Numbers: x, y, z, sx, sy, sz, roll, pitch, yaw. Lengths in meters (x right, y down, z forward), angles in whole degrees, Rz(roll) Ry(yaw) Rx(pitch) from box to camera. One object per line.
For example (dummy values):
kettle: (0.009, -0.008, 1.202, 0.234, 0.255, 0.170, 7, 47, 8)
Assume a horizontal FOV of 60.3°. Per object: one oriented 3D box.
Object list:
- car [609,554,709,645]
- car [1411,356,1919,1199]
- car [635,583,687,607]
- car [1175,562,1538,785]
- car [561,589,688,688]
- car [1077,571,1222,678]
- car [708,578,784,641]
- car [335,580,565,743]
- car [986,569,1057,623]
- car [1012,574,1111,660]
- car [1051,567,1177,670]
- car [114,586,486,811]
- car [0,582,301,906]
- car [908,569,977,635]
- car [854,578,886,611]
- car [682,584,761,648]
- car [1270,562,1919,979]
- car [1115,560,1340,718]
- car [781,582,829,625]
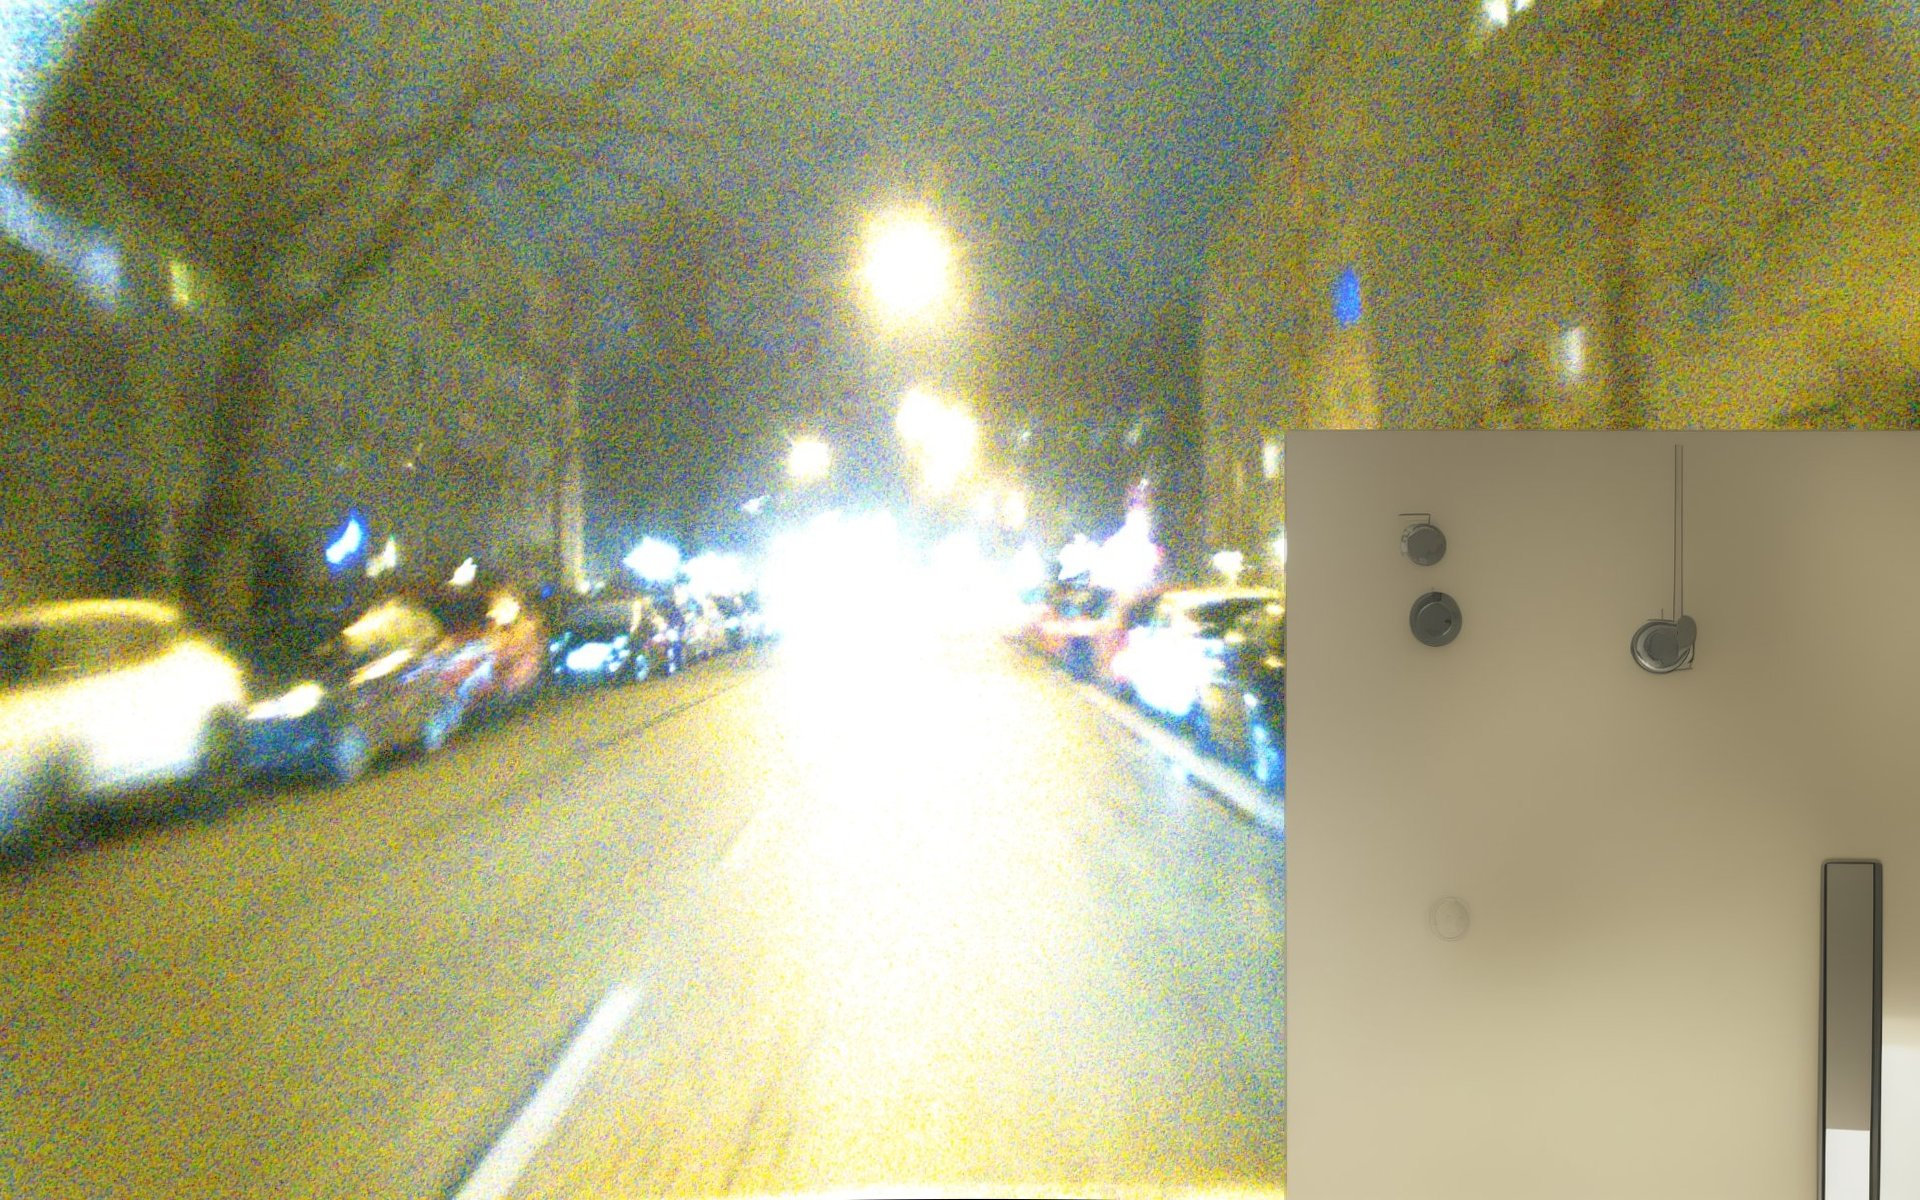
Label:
car: (-6.091, -0.032, 33.790, 1.445, 1.647, 3.372, -5, 1, -3)
car: (2.837, 0.455, 3.372, 1.760, 1.984, 5.849, -3, 1, -4)
car: (-19.662, -0.324, 109.014, 1.677, 1.456, 3.921, -1, 1, 18)
car: (3.074, 0.489, 13.763, 1.759, 1.472, 4.277, -3, 1, -3)
car: (-5.799, 0.620, 28.897, 1.402, 1.485, 3.374, -5, 1, 0)
car: (2.621, 0.298, 23.536, 1.427, 1.329, 3.627, -3, 1, -3)
car: (-6.177, 0.233, 48.165, 1.566, 1.632, 4.258, -5, 1, -1)
car: (-6.078, 0.652, 20.217, 1.713, 1.625, 4.386, -5, 1, -6)
car: (1.795, -0.140, 49.894, 1.786, 1.446, 4.487, -3, 1, -2)
car: (2.033, 0.302, 34.210, 1.787, 1.574, 4.353, -3, 1, 1)
car: (2.634, 0.263, 29.323, 1.718, 1.574, 4.978, -3, 1, 0)
car: (-5.671, 0.733, 14.847, 1.633, 1.566, 4.389, -5, 1, -3)
car: (-5.544, 0.757, 9.479, 1.632, 1.566, 4.391, -5, 1, 0)
car: (-0.611, 0.041, 55.525, 2.124, 2.006, 4.301, -2, 1, -1)
car: (-6.262, -0.412, 114.779, 1.995, 1.987, 5.195, -4, 2, -5)
car: (-6.220, 0.382, 43.539, 1.567, 1.456, 4.003, -5, 1, -3)
car: (3.006, 0.629, 8.474, 1.760, 1.517, 4.126, -3, 1, -4)
car: (2.913, 0.367, 18.898, 1.641, 1.513, 4.277, -3, 1, -3)
car: (-6.492, 0.129, 69.622, 1.566, 1.591, 4.379, -5, 1, -1)
